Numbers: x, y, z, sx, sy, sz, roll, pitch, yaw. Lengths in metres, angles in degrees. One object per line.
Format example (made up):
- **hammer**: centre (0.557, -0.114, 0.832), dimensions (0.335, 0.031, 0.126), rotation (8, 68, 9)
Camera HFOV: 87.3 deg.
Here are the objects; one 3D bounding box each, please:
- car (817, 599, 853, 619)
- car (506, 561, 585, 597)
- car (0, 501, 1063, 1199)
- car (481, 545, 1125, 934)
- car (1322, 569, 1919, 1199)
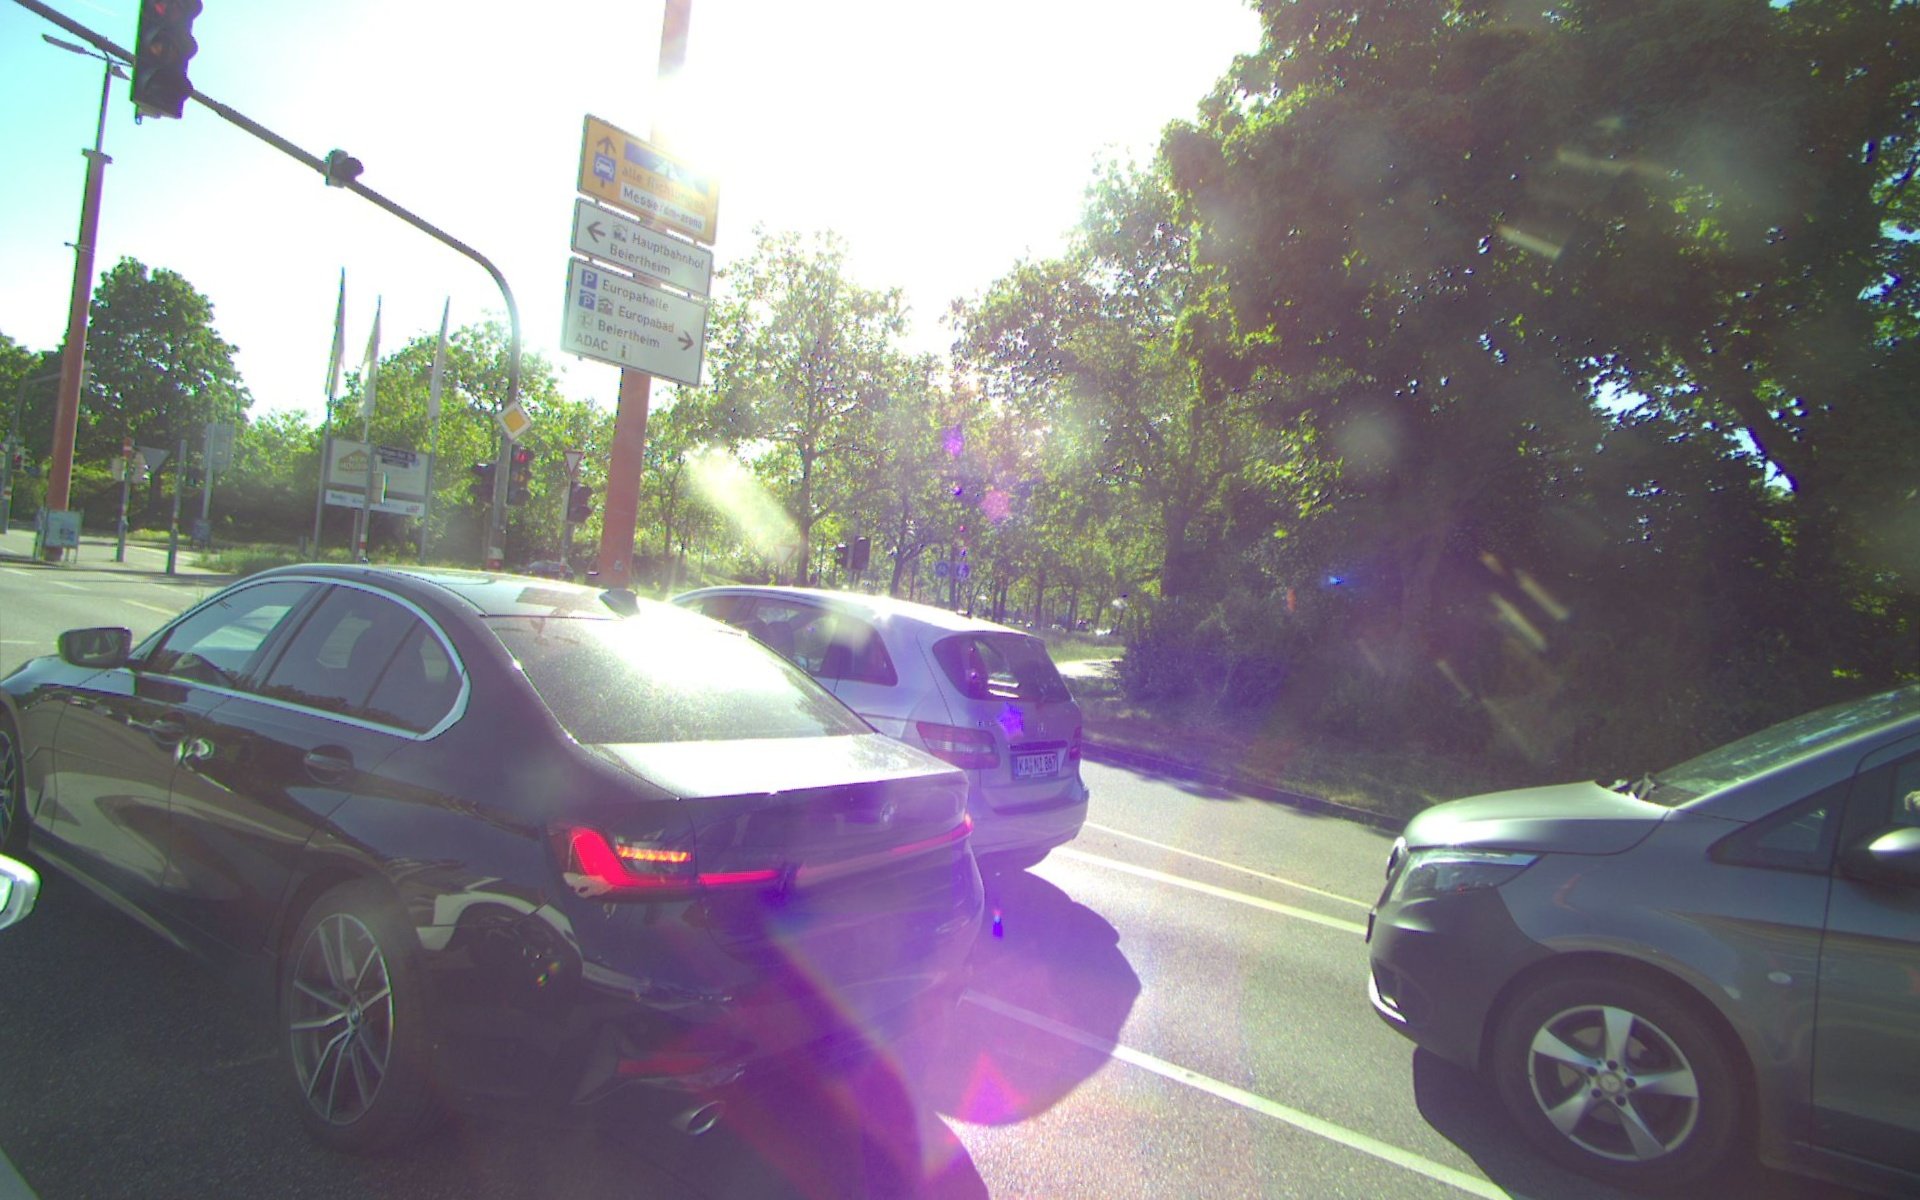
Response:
- **car**: centre (-13.443, 0.993, 108.301), dimensions (1.737, 1.655, 4.297), rotation (7, -1, 23)
- **car**: centre (-26.614, -1.321, 64.663), dimensions (1.745, 1.654, 4.282), rotation (6, -3, 41)
- **car**: centre (-1.965, 0.578, 3.785), dimensions (4.226, 1.458, 1.766), rotation (6, -2, 34)
- **car**: centre (-1.103, 0.694, 6.522), dimensions (3.784, 1.626, 1.719), rotation (6, -2, 32)
- **car**: centre (4.007, 1.130, 3.073), dimensions (5.021, 1.875, 1.806), rotation (7, 0, 34)
